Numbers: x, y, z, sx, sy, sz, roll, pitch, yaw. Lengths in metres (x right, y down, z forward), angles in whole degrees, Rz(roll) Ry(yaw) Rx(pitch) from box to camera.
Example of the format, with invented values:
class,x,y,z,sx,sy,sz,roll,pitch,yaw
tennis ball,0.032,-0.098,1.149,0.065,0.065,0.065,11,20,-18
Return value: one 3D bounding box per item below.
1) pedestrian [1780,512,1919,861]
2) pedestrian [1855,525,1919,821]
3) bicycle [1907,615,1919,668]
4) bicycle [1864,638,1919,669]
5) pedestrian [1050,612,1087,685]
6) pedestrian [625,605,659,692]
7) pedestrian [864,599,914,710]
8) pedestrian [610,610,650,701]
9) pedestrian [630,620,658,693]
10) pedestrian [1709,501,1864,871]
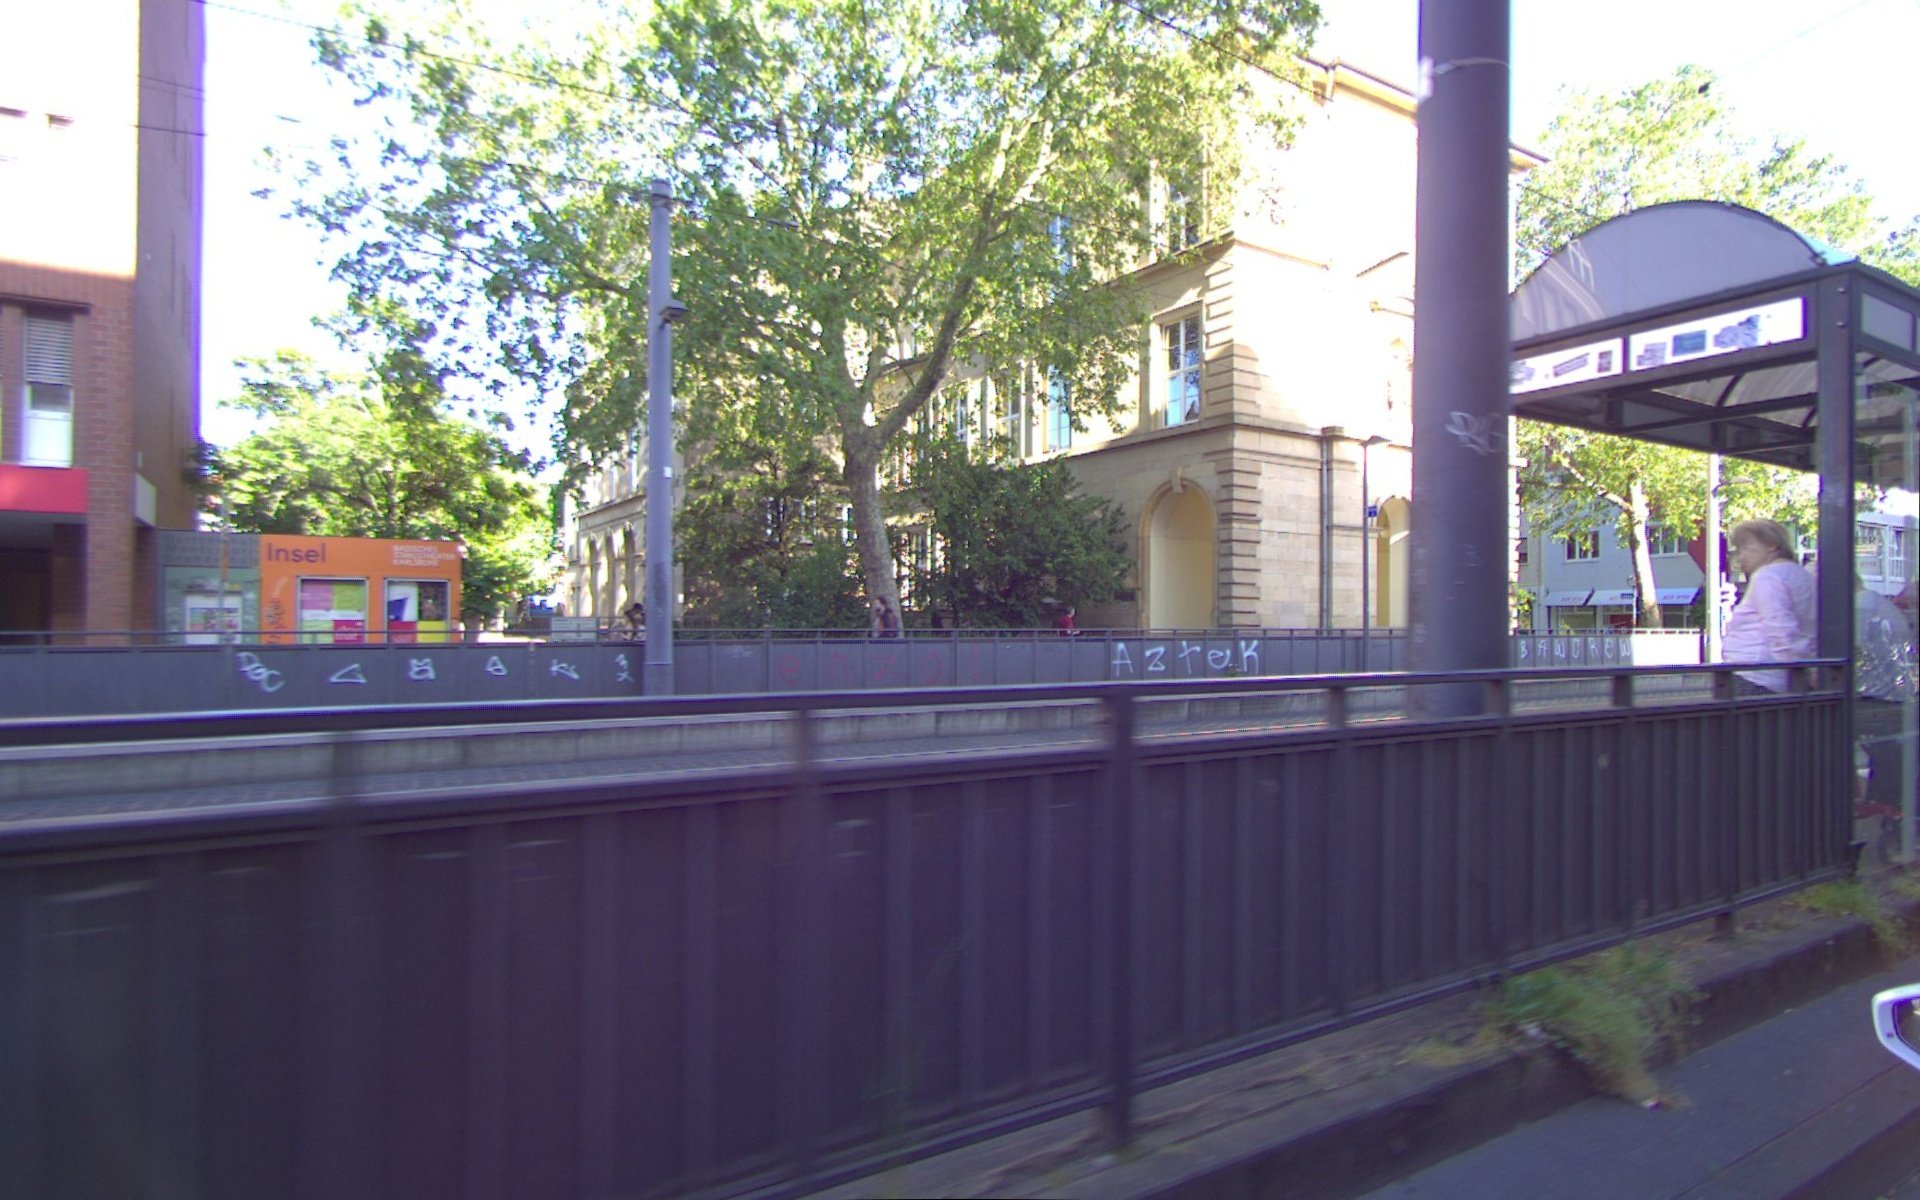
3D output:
class,x,y,z,sx,sy,sz,roll,pitch,yaw
pedestrian,4.408,0.401,4.921,0.586,1.594,0.422,1,0,-30
pedestrian,5.348,0.397,5.523,0.532,1.593,0.322,1,0,22
bicycle,31.831,1.358,33.194,0.572,1.738,0.647,0,-1,25
bicycle,31.464,1.764,33.311,2.127,0.979,0.648,0,-1,18
pedestrian,2.651,1.177,24.650,0.607,1.735,0.675,1,0,-32
pedestrian,-7.097,1.076,22.415,0.618,1.907,0.704,1,-1,-26
pedestrian,-1.349,1.006,19.008,0.695,2.040,0.683,1,0,-31
pedestrian,-6.804,1.130,20.693,0.640,1.830,0.684,1,0,-30
pedestrian,-6.850,1.215,21.762,0.468,1.550,0.580,1,0,-29
pedestrian,3.801,0.373,4.626,0.442,1.594,0.422,1,0,-30
